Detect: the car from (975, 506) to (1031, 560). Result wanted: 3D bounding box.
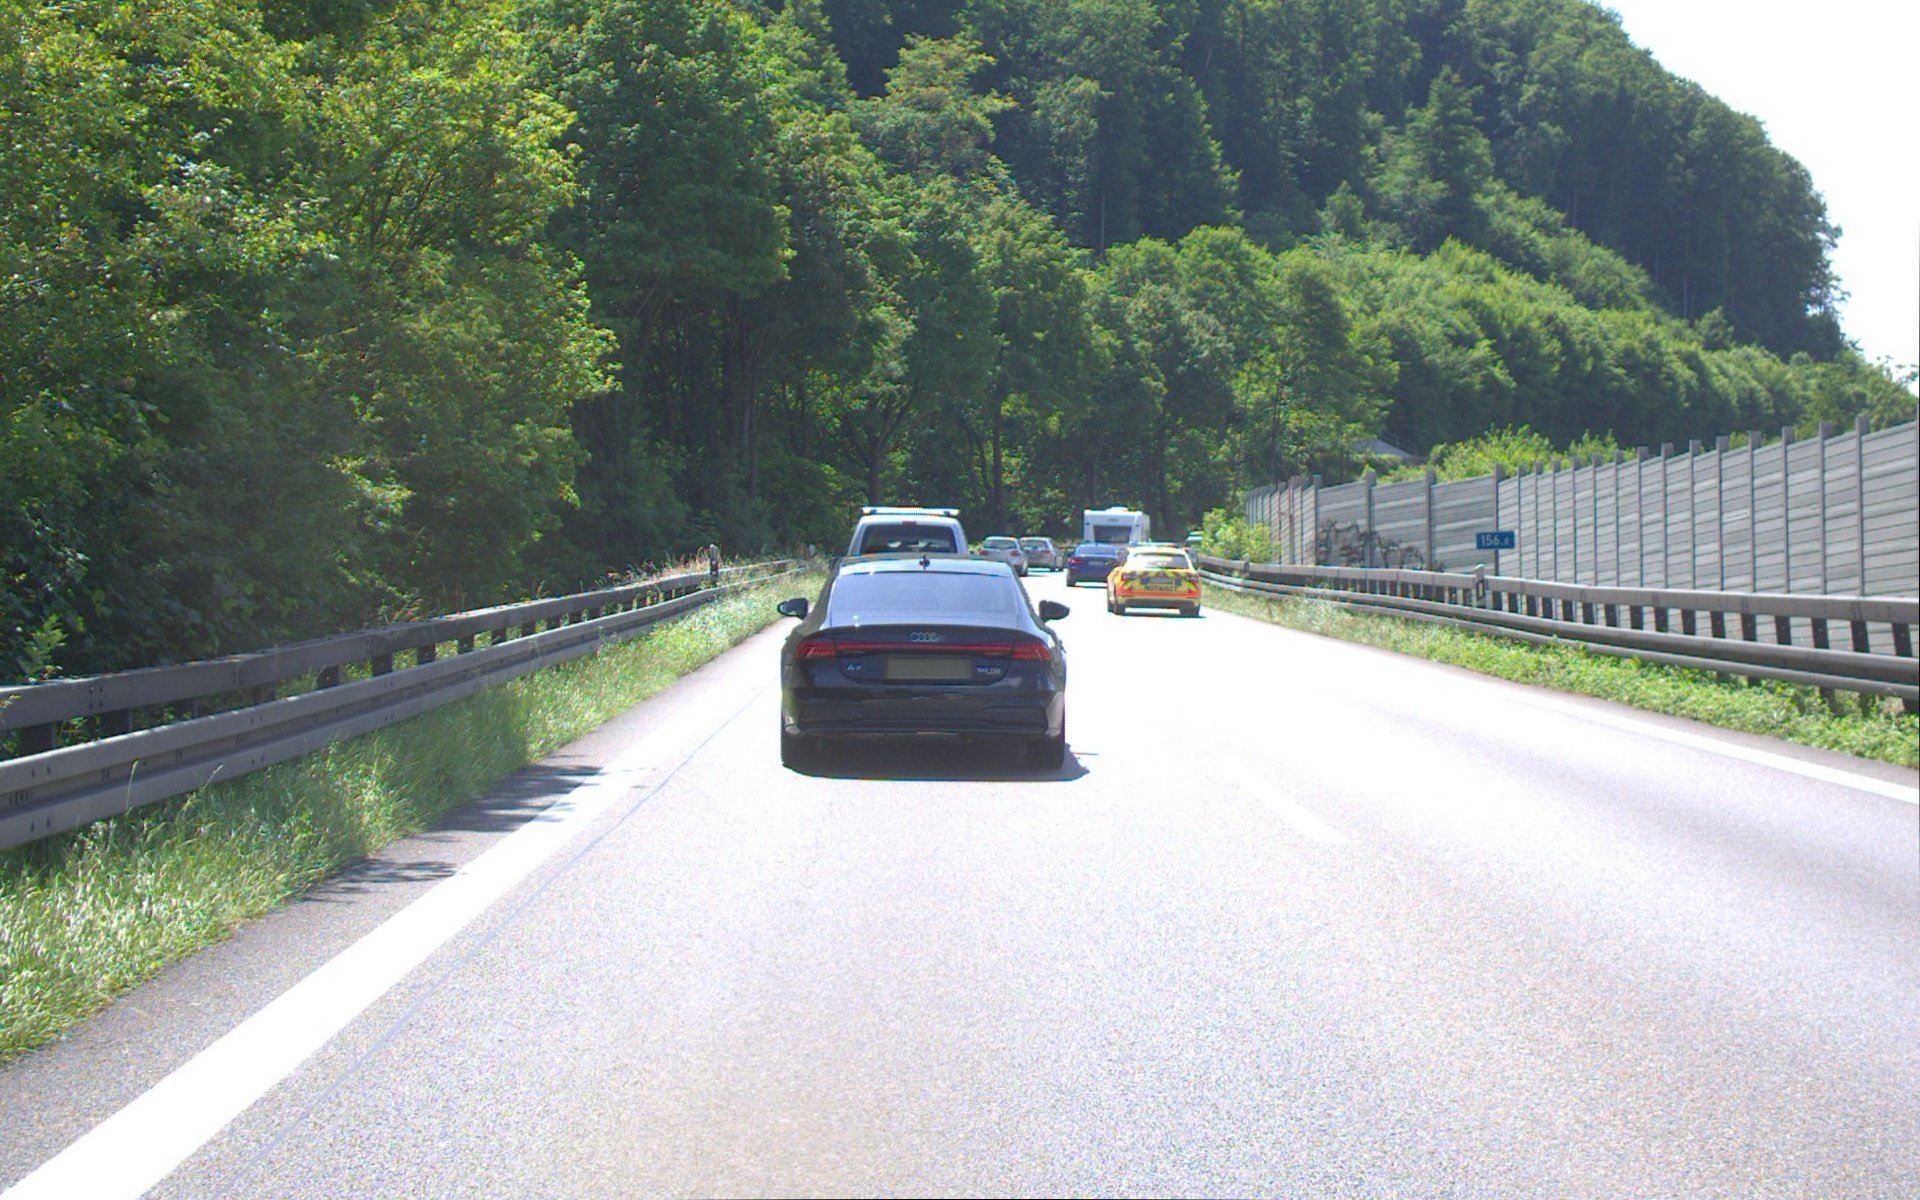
[{"bbox_3d":[1.605,-2.527,129.928,1.993,2.007,4.000,1,1,-1],"label":"car"}]

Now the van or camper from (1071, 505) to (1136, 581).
[{"bbox_3d":[5.667,-2.259,136.131,2.455,2.908,6.126,1,1,2],"label":"van or camper"}]

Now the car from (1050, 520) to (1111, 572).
[{"bbox_3d":[3.916,-1.763,112.579,1.773,1.631,4.000,1,1,-1],"label":"car"}]

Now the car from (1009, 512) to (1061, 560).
[{"bbox_3d":[3.218,-2.720,146.158,1.994,2.007,4.000,1,1,4],"label":"car"}]

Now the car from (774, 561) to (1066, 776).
[{"bbox_3d":[-0.268,0.410,23.702,1.837,1.345,4.000,0,1,0],"label":"car"}]

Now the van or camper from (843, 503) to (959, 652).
[{"bbox_3d":[-0.737,-0.300,44.116,1.391,1.809,4.000,1,1,0],"label":"van or camper"}]

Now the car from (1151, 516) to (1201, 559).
[{"bbox_3d":[10.426,-2.988,165.768,1.994,2.007,3.999,1,1,9],"label":"car"}]

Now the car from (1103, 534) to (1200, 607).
[{"bbox_3d":[4.043,-0.640,73.246,1.863,1.483,4.000,1,1,1],"label":"car"}]
